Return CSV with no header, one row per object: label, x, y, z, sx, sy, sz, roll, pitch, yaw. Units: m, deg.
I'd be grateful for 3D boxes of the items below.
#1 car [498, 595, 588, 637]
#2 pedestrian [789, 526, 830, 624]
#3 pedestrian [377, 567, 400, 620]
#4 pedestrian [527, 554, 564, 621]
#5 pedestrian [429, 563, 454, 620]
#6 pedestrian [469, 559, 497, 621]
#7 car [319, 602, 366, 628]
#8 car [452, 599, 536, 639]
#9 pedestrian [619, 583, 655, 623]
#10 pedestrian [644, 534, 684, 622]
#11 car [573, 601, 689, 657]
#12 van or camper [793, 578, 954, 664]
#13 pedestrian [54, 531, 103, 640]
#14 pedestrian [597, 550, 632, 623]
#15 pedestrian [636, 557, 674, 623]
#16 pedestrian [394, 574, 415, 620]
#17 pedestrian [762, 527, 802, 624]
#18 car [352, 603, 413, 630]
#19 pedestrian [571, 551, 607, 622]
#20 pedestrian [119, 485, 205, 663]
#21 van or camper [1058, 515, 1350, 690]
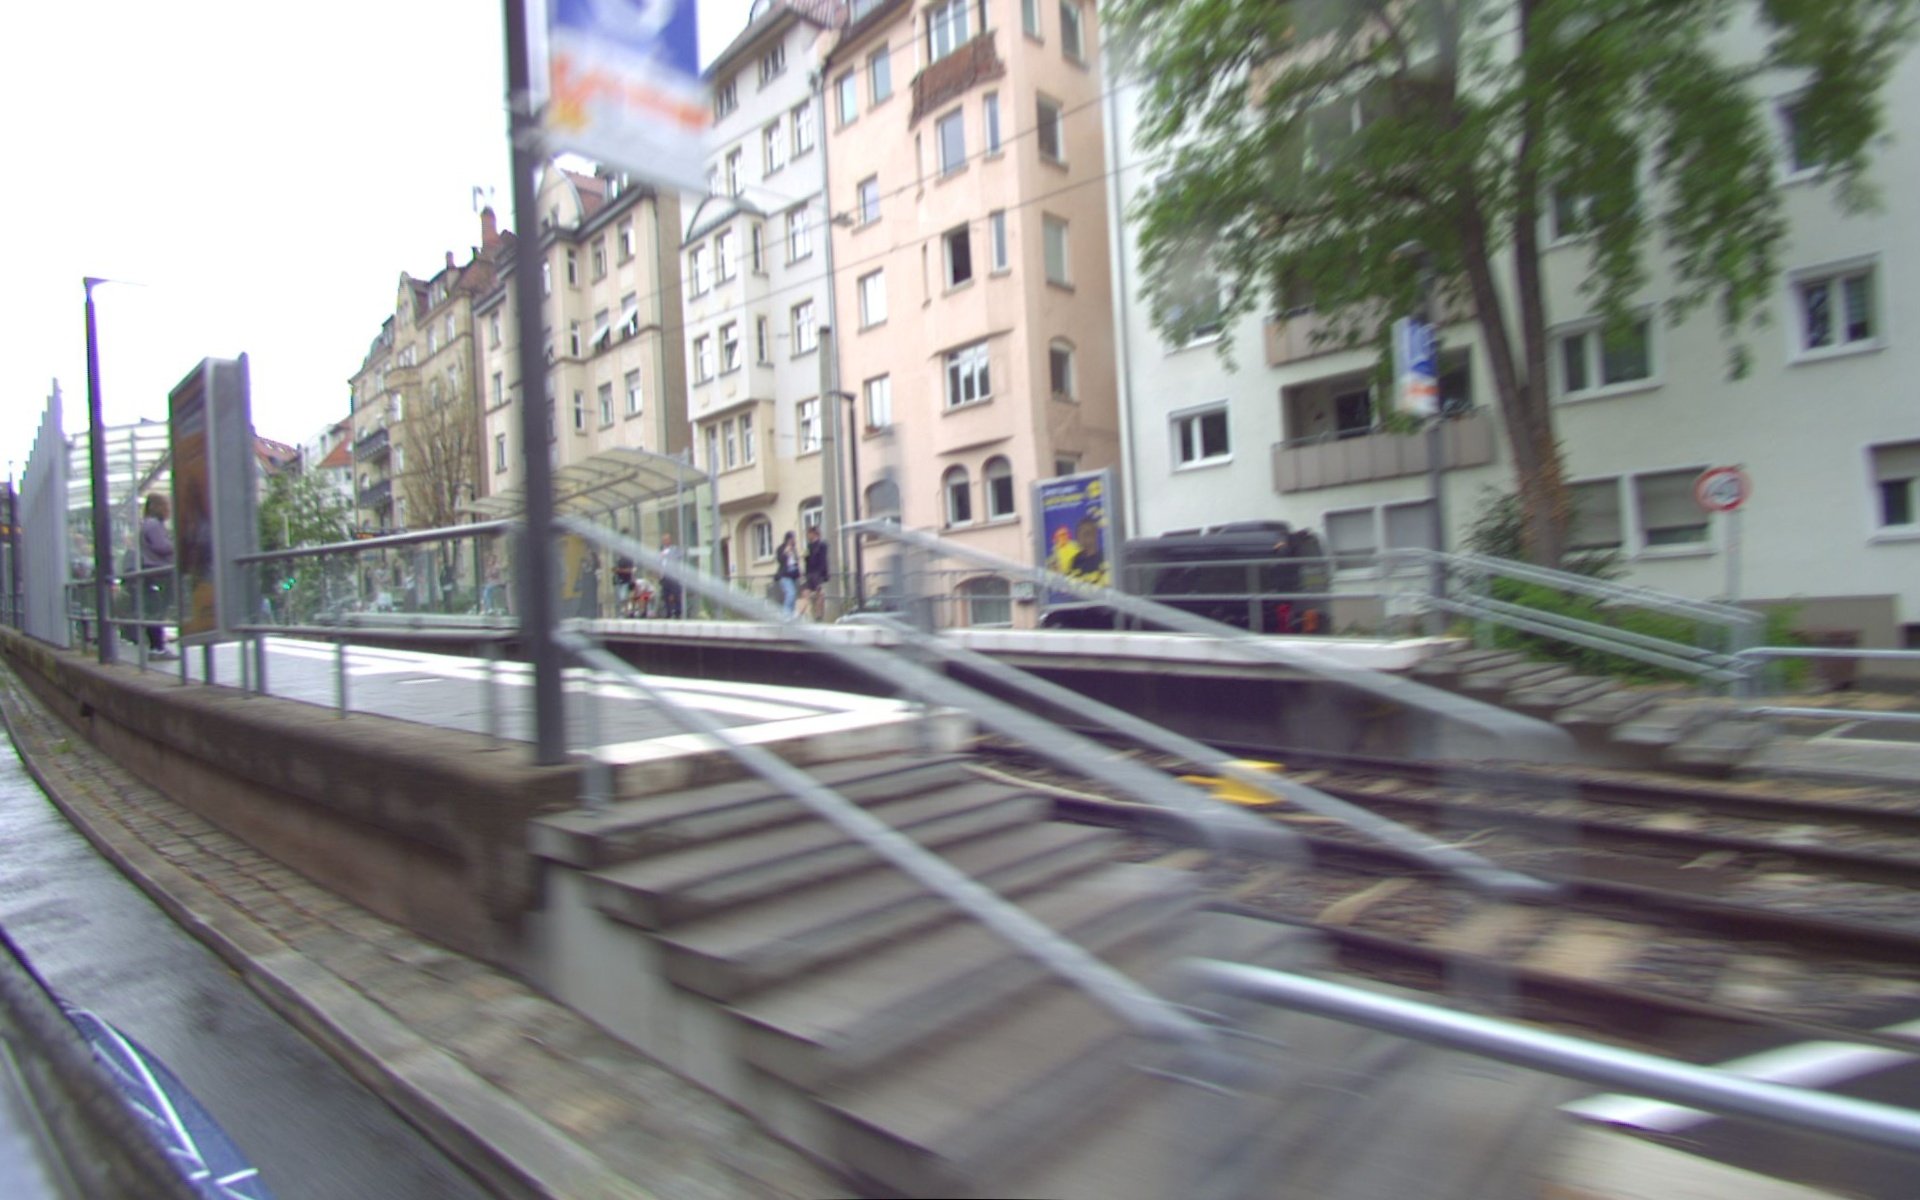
car,-17.014,0.652,41.223,1.900,1.635,4.539,1,-1,-43
pedestrian,-2.735,-0.440,18.384,0.564,1.754,0.477,0,-1,45
pedestrian,-20.506,-0.227,36.312,0.599,1.864,0.554,0,-1,45
pedestrian,-10.598,-0.297,25.870,0.762,1.678,0.587,0,-1,45
pedestrian,-16.910,-0.274,33.011,0.762,1.852,0.510,0,-1,45
pedestrian,-14.384,-0.286,30.527,0.762,1.852,0.510,0,-1,45
car,-38.919,0.956,63.726,1.612,1.559,4.177,-1,0,-45
car,-20.887,0.786,45.318,1.971,1.544,4.536,-4,3,-44
pedestrian,-7.240,0.067,22.668,0.614,0.878,0.544,0,-1,45
pedestrian,-6.077,-0.437,20.789,0.614,1.754,0.544,0,-1,45
car,-11.350,0.938,34.726,1.969,1.745,4.819,1,0,-42
van or camper,-2.265,0.540,25.880,4.001,2.029,1.971,-2,-1,44
pedestrian,-15.752,-0.250,18.082,0.711,1.895,0.583,-1,0,44
pedestrian,-8.026,-0.307,23.525,0.614,1.678,0.544,0,-1,45
pedestrian,-6.627,-0.210,22.012,0.614,1.424,0.544,0,-1,45
pedestrian,-19.850,-0.100,36.154,0.563,1.617,0.510,0,-1,45
pedestrian,-3.278,-0.441,18.673,0.564,1.754,0.477,0,-1,45
car,-32.412,0.919,56.761,4.870,1.453,1.698,-1,0,44
pedestrian,-8.896,-0.305,24.249,0.591,1.678,0.587,0,-1,45
pedestrian,-8.519,-0.275,10.805,0.661,1.821,0.583,-1,1,44
van or camper,4.378,0.093,18.646,4.860,2.826,1.973,-1,-1,40
